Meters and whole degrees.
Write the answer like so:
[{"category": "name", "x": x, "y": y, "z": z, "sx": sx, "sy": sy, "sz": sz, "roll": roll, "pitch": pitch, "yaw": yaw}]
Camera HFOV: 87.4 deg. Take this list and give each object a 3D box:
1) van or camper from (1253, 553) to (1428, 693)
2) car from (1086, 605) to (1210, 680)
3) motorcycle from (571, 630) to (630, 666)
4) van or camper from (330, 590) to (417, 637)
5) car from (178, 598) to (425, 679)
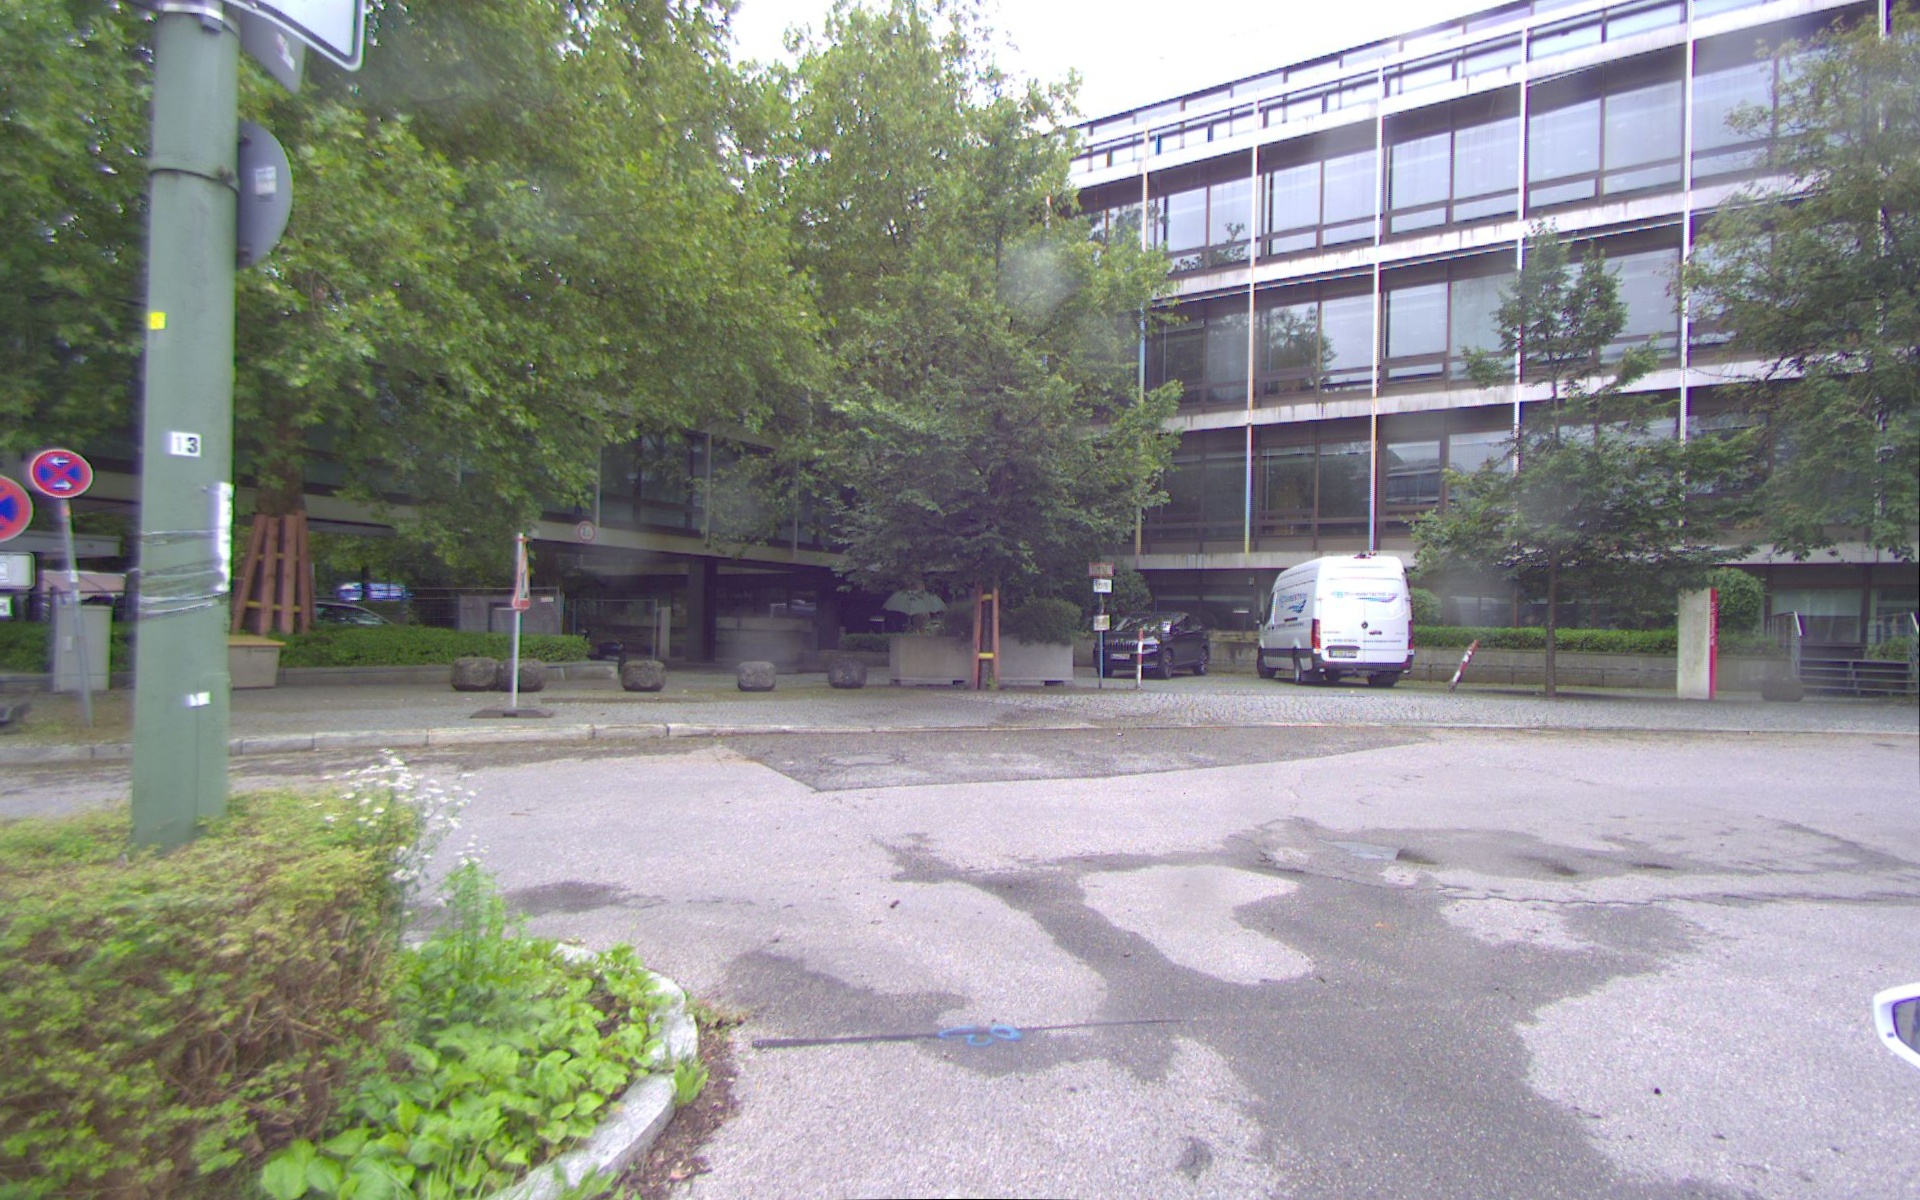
[{"category": "van or camper", "x": 8.248, "y": 0.589, "z": 22.548, "sx": 2.119, "sy": 2.614, "sz": 6.545, "roll": 2, "pitch": -3, "yaw": 7}, {"category": "car", "x": 4.889, "y": 1.046, "z": 25.674, "sx": 1.912, "sy": 1.744, "sz": 4.233, "roll": 1, "pitch": -1, "yaw": 28}, {"category": "motorcycle", "x": -11.094, "y": 1.483, "z": 31.066, "sx": 1.665, "sy": 1.069, "sz": 0.670, "roll": 1, "pitch": -1, "yaw": -17}, {"category": "van or camper", "x": -34.088, "y": 0.801, "z": 58.355, "sx": 4.566, "sy": 2.630, "sz": 2.275, "roll": 0, "pitch": -1, "yaw": 28}, {"category": "car", "x": -13.547, "y": 0.776, "z": 20.857, "sx": 1.880, "sy": 1.493, "sz": 3.850, "roll": 1, "pitch": -1, "yaw": 33}]
